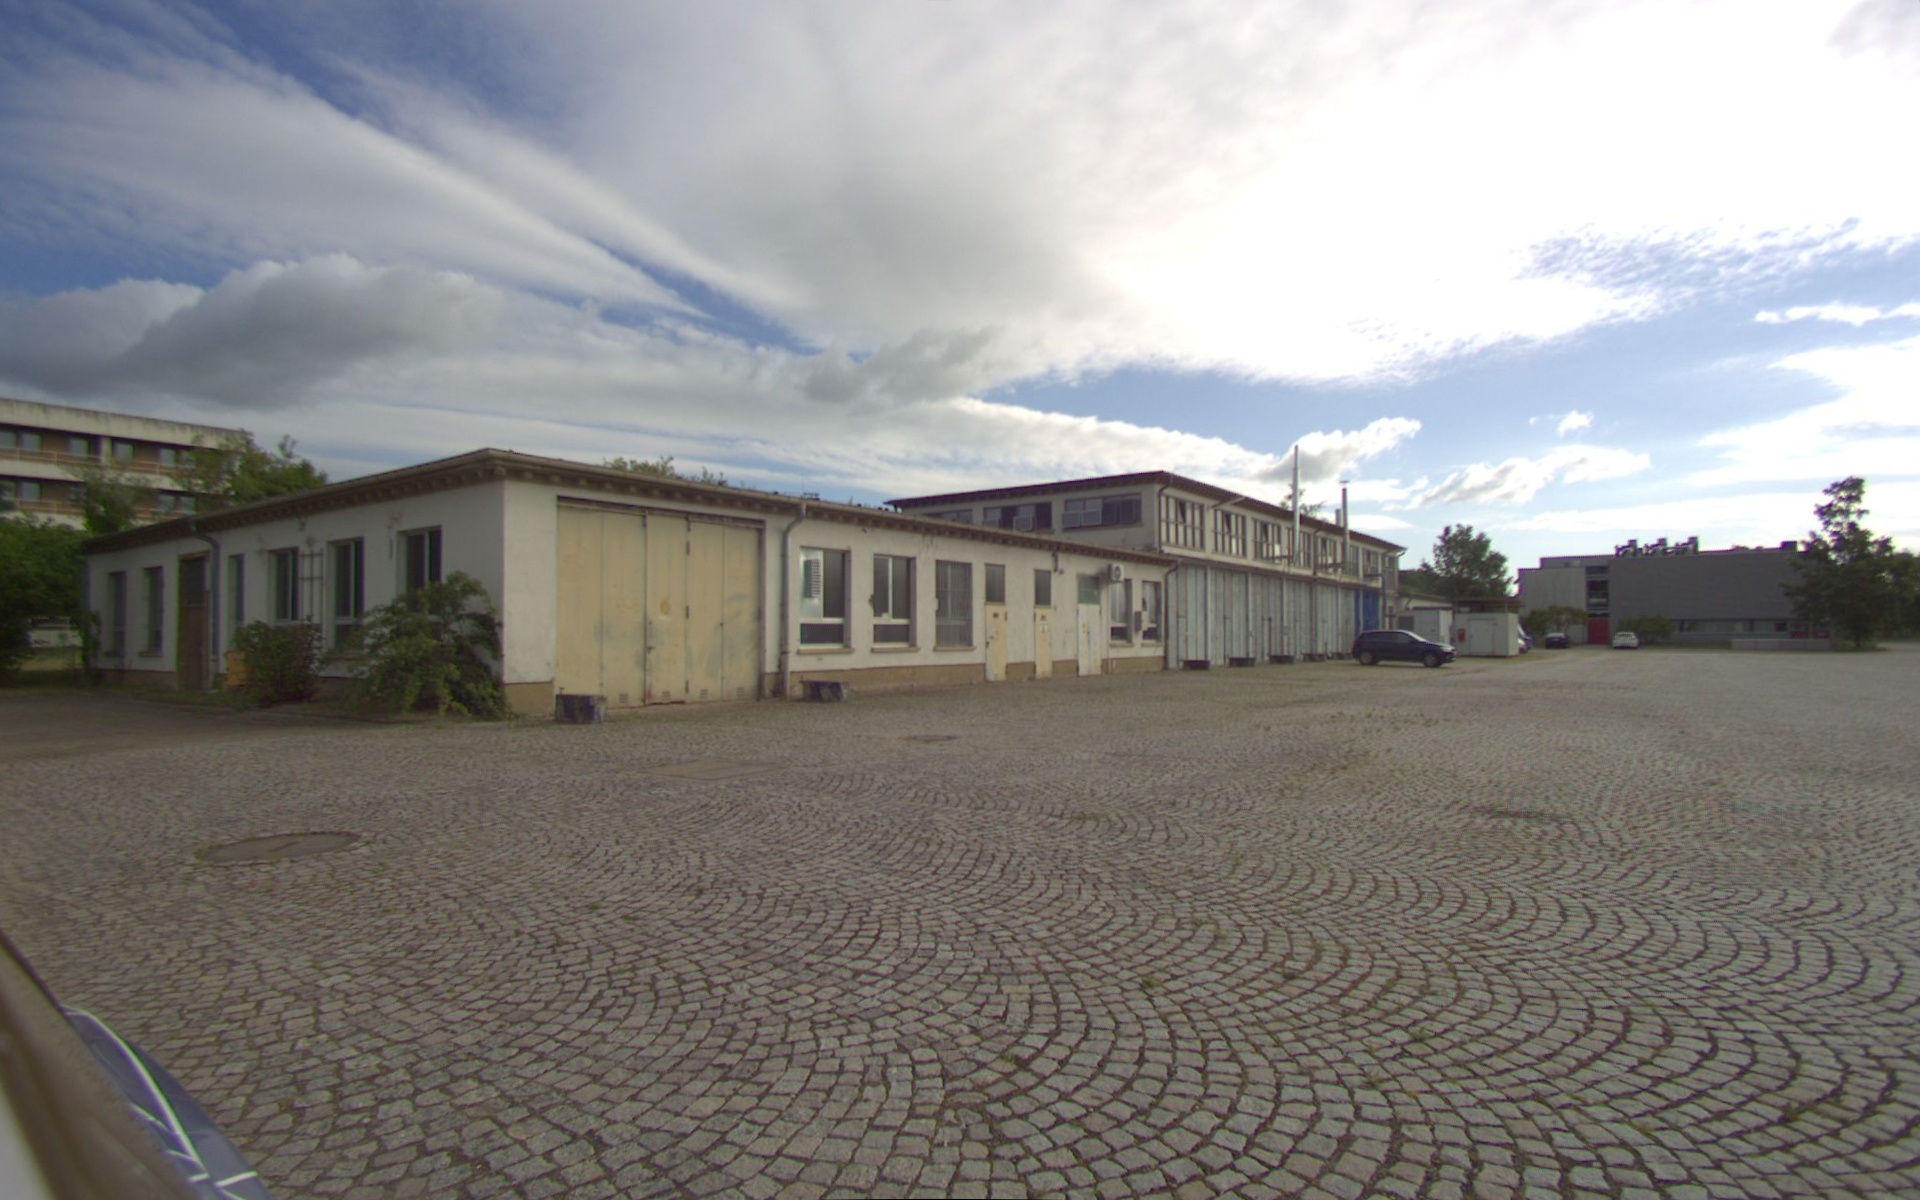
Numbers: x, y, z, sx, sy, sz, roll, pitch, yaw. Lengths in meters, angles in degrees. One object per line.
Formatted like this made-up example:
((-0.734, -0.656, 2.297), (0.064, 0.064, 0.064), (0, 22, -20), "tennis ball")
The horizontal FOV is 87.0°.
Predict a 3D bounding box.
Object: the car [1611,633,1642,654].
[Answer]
((59.075, 3.849, 89.672), (2.149, 1.824, 3.952), (-2, -3, 35), "car")

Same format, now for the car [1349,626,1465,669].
((19.879, 2.132, 45.065), (4.427, 1.770, 1.976), (-2, -6, 36), "car")

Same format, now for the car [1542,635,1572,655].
((54.564, 4.107, 92.424), (1.995, 1.824, 3.952), (-2, -3, 35), "car")

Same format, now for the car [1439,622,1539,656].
((35.358, 2.623, 67.719), (5.618, 2.236, 2.423), (-2, -3, 36), "car")

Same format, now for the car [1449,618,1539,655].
((39.624, 2.710, 75.151), (5.618, 2.635, 2.423), (-2, -3, 36), "car")
